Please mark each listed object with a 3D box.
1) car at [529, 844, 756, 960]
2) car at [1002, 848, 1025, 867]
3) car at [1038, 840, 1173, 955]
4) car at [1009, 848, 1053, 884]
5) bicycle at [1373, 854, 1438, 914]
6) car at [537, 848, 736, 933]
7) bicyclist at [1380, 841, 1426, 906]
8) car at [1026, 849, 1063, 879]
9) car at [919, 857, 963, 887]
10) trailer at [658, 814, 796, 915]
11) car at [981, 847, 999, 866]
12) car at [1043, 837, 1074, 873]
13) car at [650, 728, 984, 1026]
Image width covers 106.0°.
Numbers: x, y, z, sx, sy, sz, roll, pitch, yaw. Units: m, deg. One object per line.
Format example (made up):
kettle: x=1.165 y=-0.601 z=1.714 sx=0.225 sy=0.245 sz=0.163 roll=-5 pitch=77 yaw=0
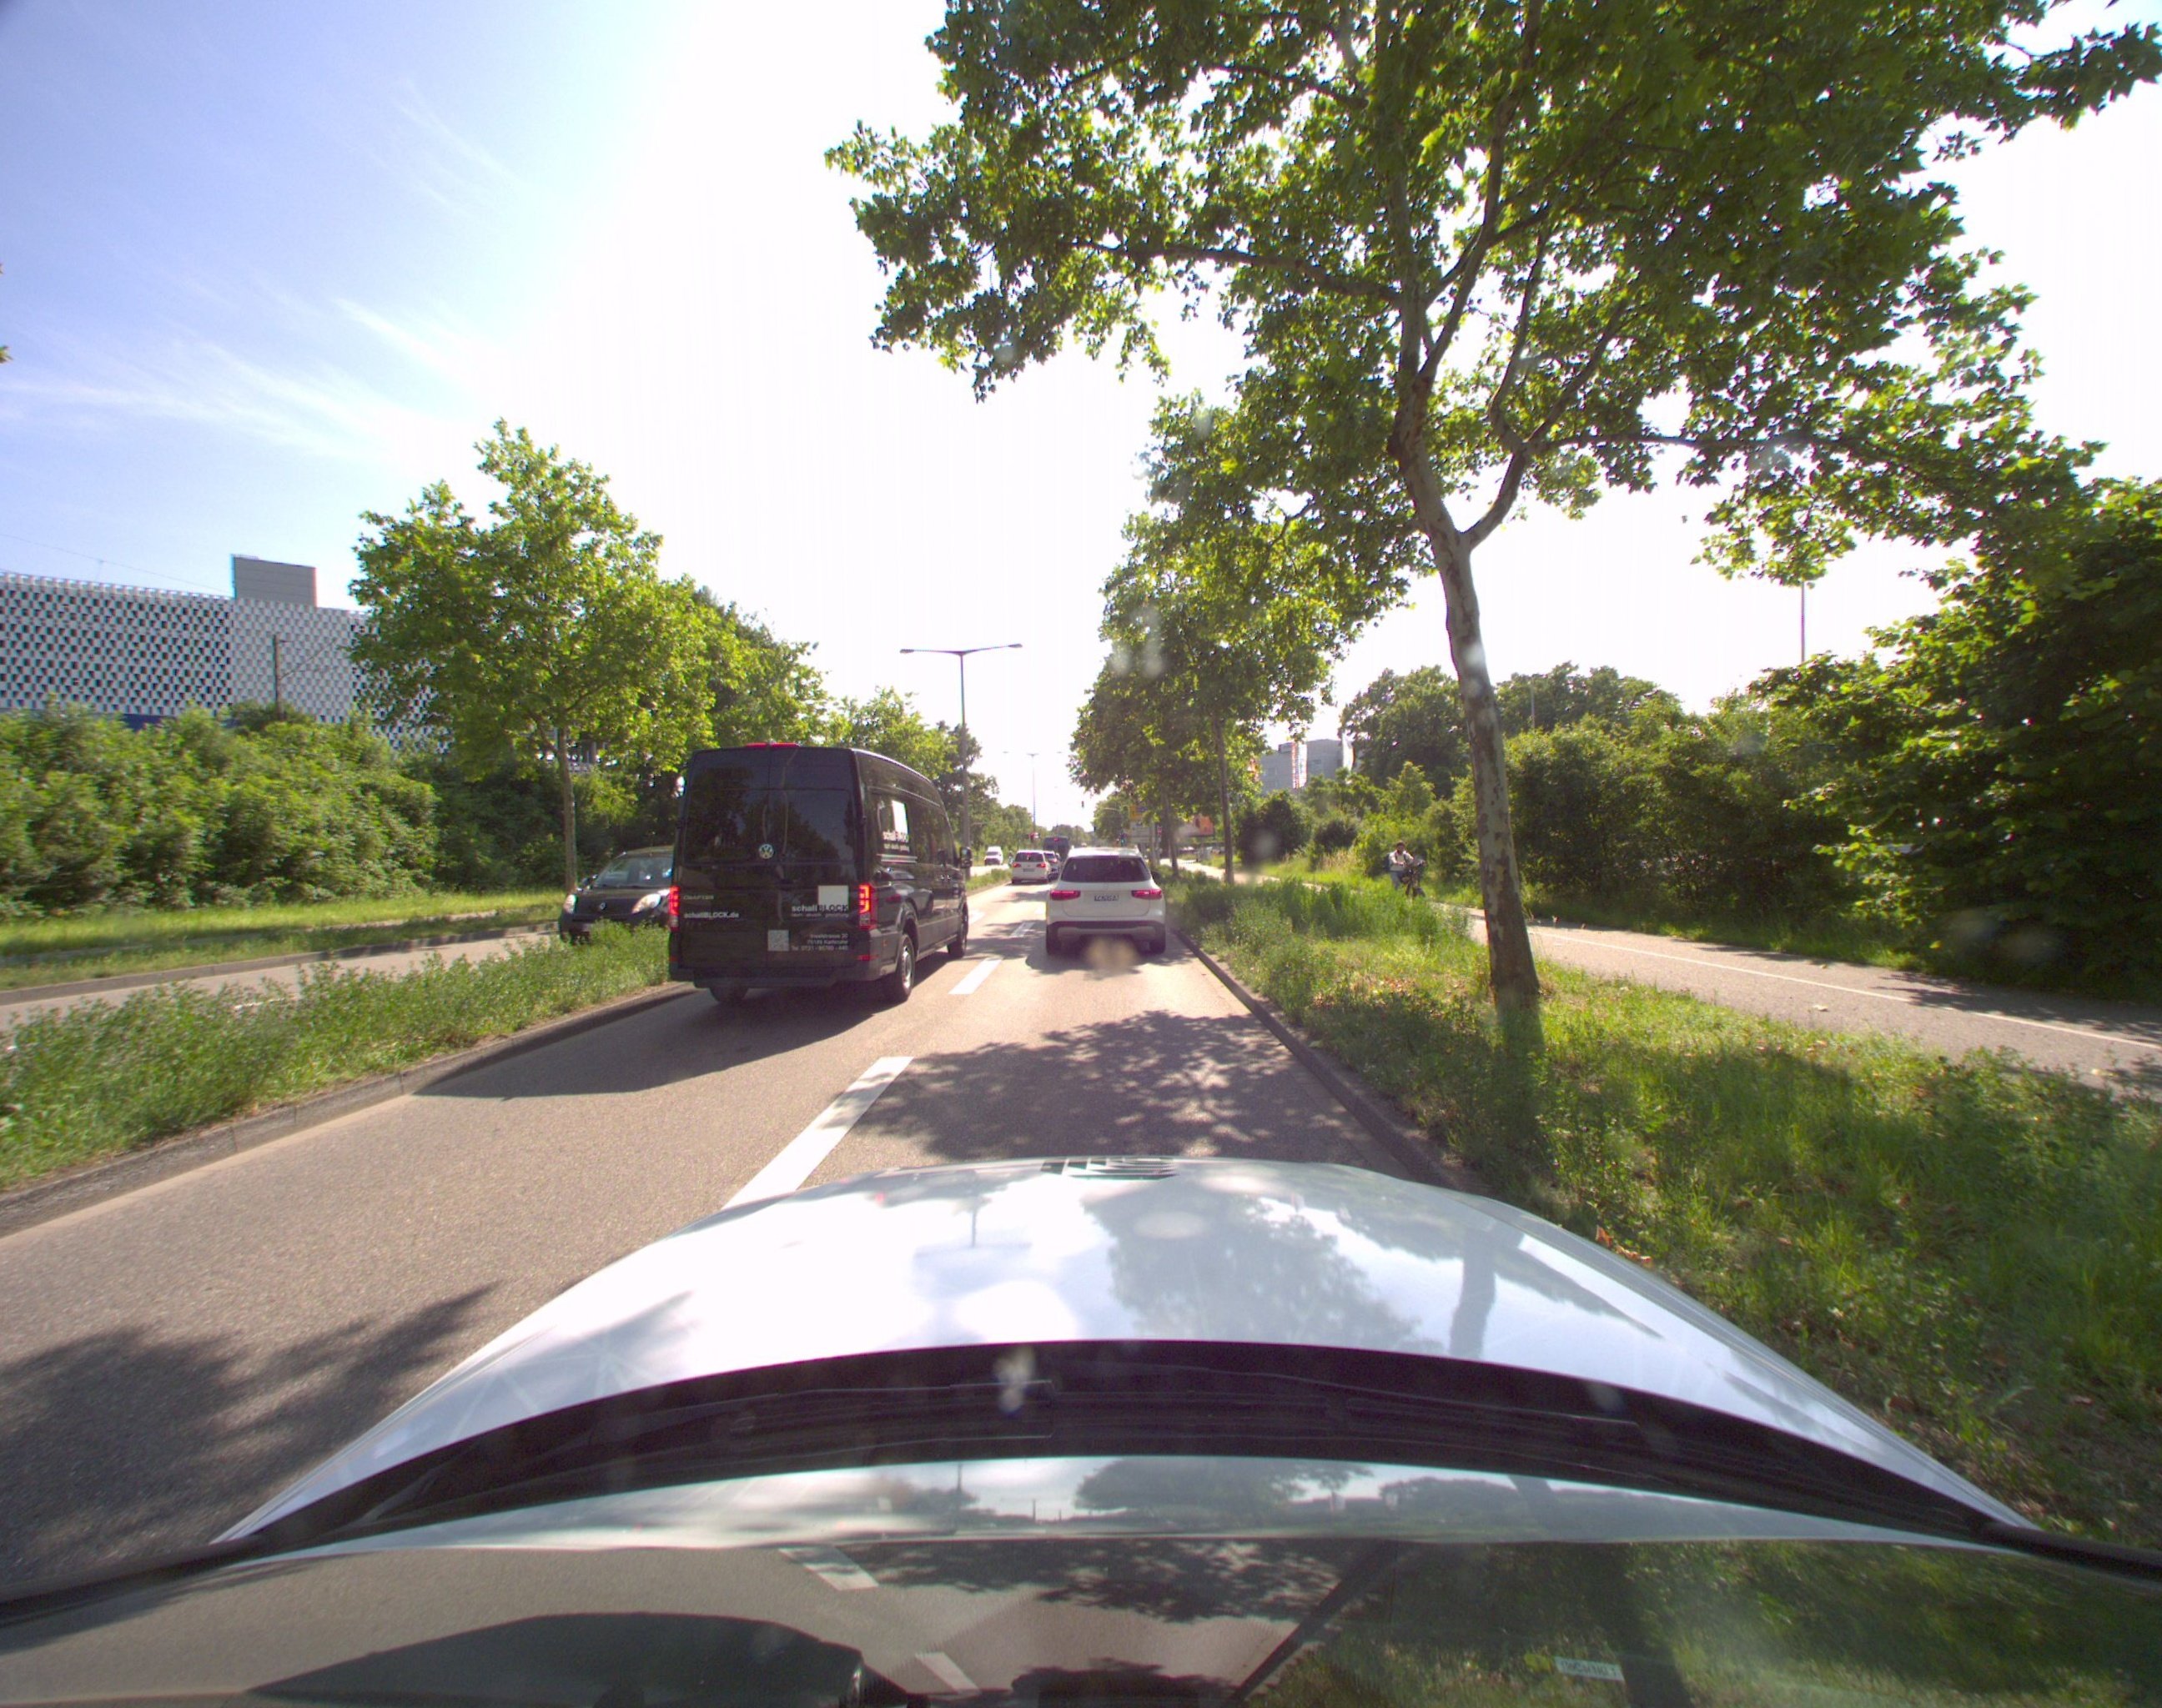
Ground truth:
car: x=-7.731 y=0.762 z=14.907 sx=1.724 sy=1.809 sz=4.234 roll=0 pitch=0 yaw=2
car: x=-6.814 y=0.331 z=82.741 sx=1.987 sy=1.882 sz=4.000 roll=0 pitch=0 yaw=1
car: x=0.252 y=0.618 z=13.712 sx=1.850 sy=1.607 sz=3.994 roll=-1 pitch=0 yaw=-4
car: x=-2.427 y=0.577 z=40.311 sx=1.765 sy=1.647 sz=4.354 roll=-1 pitch=0 yaw=2
bicycle: x=7.466 y=0.658 z=18.826 sx=0.720 sy=1.299 sz=2.096 roll=0 pitch=0 yaw=2
car: x=-10.539 y=0.782 z=19.905 sx=1.758 sy=1.789 sz=5.378 roll=0 pitch=0 yaw=2
bicyclist: x=7.487 y=0.442 z=18.972 sx=0.701 sy=1.477 sz=1.010 roll=0 pitch=0 yaw=2
car: x=-2.043 y=0.538 z=46.323 sx=1.765 sy=1.647 sz=4.086 roll=-1 pitch=0 yaw=2
car: x=-7.395 y=0.923 z=43.288 sx=1.597 sy=1.472 sz=3.791 roll=-1 pitch=0 yaw=2
trailer: x=-10.417 y=0.287 z=24.455 sx=1.873 sy=2.744 sz=4.830 roll=0 pitch=0 yaw=2
car: x=-11.609 y=0.301 z=103.667 sx=1.989 sy=2.418 sz=5.132 roll=-1 pitch=0 yaw=-4
car: x=-1.690 y=0.054 z=62.297 sx=2.073 sy=2.656 sz=4.876 roll=0 pitch=0 yaw=2
car: x=-2.694 y=0.205 z=10.231 sx=2.008 sy=2.607 sz=6.170 roll=0 pitch=0 yaw=2
